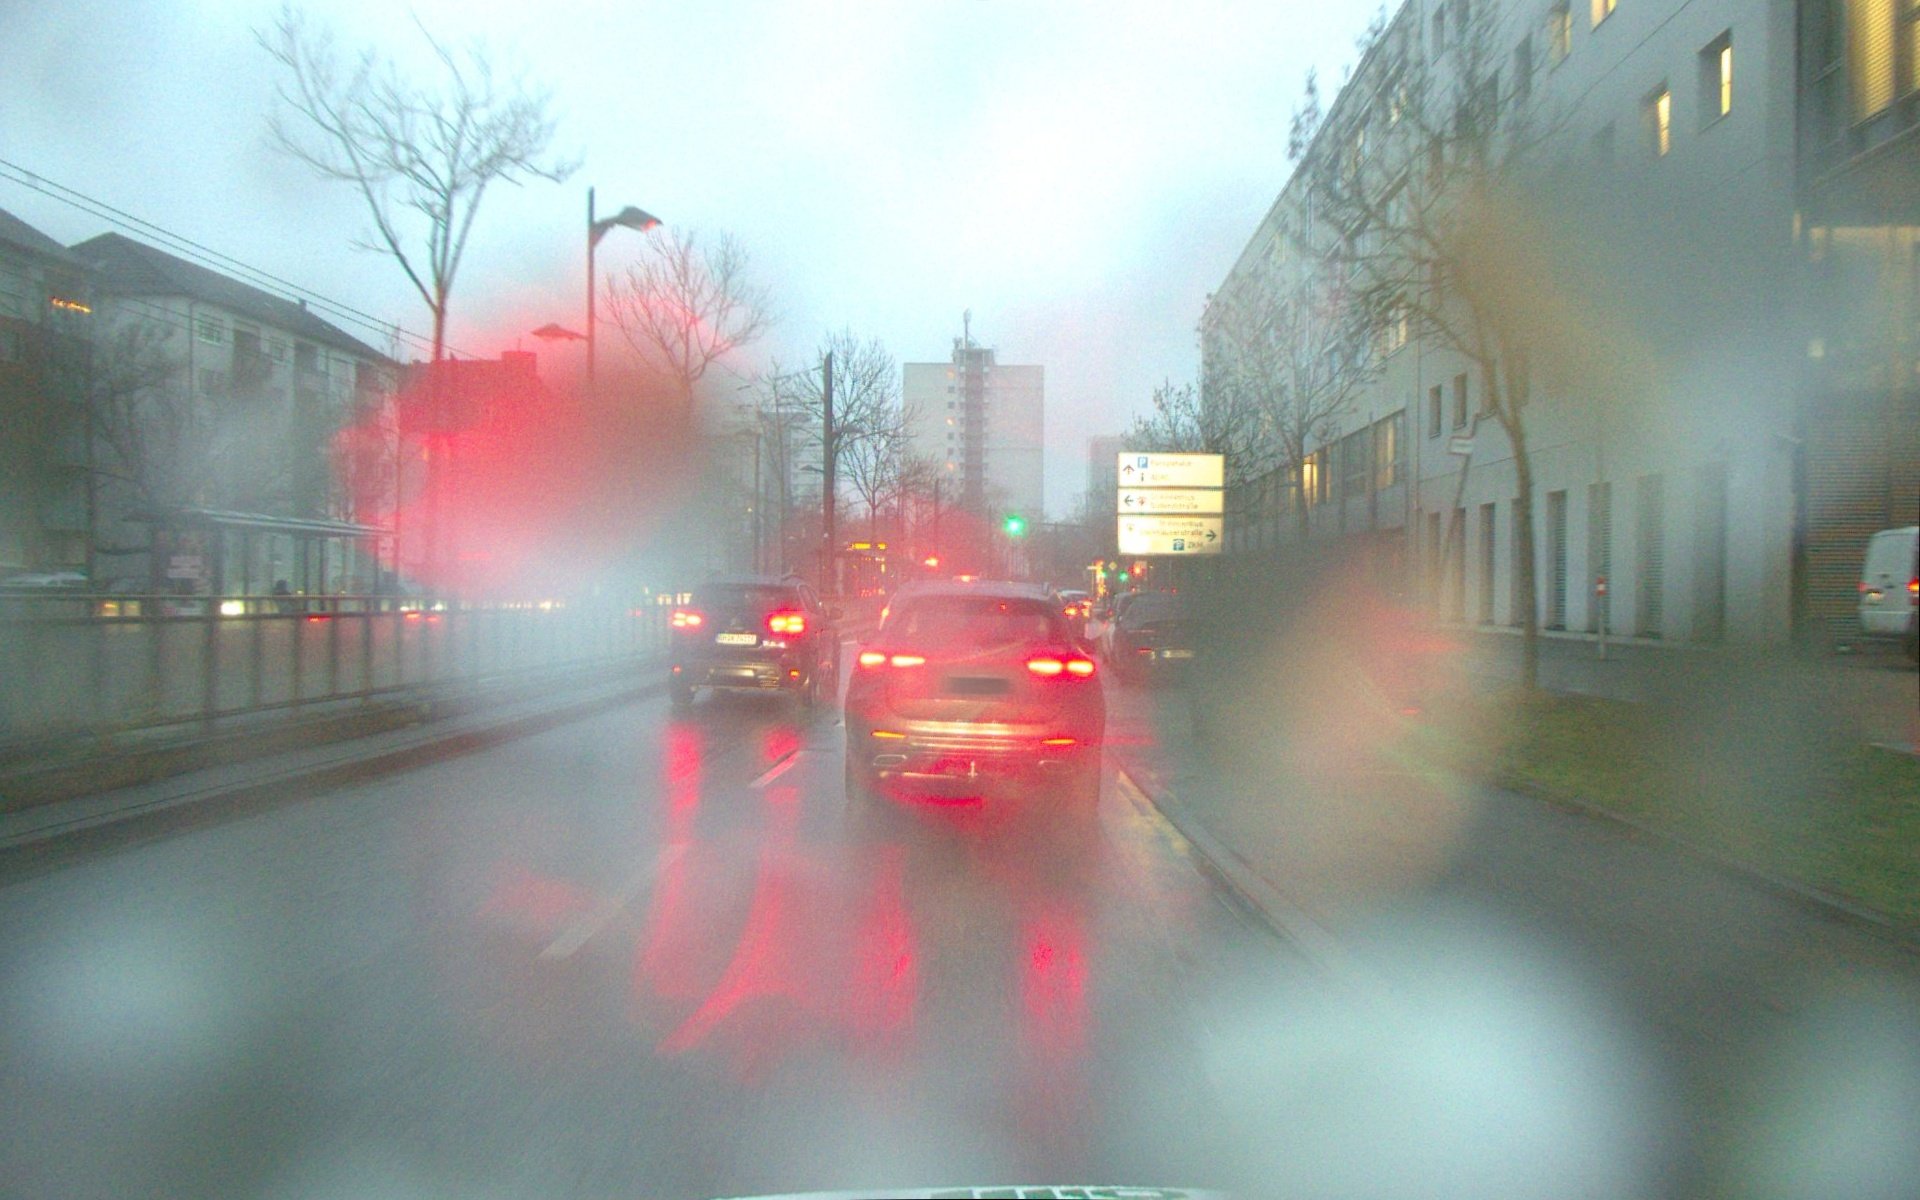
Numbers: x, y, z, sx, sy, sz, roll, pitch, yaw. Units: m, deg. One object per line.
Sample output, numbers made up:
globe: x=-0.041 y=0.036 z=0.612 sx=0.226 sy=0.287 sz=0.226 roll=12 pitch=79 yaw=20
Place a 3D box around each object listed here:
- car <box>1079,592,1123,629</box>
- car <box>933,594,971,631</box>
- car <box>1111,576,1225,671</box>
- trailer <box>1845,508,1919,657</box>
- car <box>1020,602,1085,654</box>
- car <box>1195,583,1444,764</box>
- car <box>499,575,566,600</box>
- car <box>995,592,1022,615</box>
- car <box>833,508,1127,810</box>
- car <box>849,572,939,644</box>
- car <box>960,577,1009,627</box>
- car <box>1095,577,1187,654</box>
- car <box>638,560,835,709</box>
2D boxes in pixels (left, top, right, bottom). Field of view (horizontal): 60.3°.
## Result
car: x=6.794 y=0.515 z=79.951 sx=1.952 sy=1.720 sz=3.530 roll=2 pitch=0 yaw=3
car: x=-0.445 y=0.701 z=97.447 sx=1.912 sy=2.069 sz=4.885 roll=1 pitch=0 yaw=3
car: x=3.436 y=0.338 z=27.949 sx=1.717 sy=1.427 sz=4.253 roll=2 pitch=1 yaw=5
trailer: x=15.017 y=-0.233 z=22.325 sx=4.959 sy=1.944 sz=2.132 roll=1 pitch=2 yaw=7
car: x=2.769 y=0.812 z=50.256 sx=1.847 sy=1.377 sz=4.103 roll=2 pitch=1 yaw=2
car: x=3.312 y=0.629 z=15.977 sx=1.563 sy=1.465 sz=4.229 roll=2 pitch=0 yaw=2
car: x=-26.435 y=-0.785 z=102.342 sx=3.722 sy=1.390 sz=1.697 roll=2 pitch=-1 yaw=-3
car: x=3.517 y=0.266 z=119.169 sx=1.733 sy=1.528 sz=3.370 roll=2 pitch=0 yaw=5
car: x=0.119 y=0.417 z=13.326 sx=1.953 sy=2.010 sz=4.067 roll=2 pitch=0 yaw=-1
car: x=-1.608 y=0.203 z=41.628 sx=1.952 sy=1.671 sz=4.023 roll=2 pitch=0 yaw=2
car: x=0.921 y=0.080 z=62.036 sx=1.757 sy=1.780 sz=3.625 roll=2 pitch=0 yaw=1
car: x=3.599 y=0.272 z=33.333 sx=1.558 sy=1.419 sz=3.487 roll=-1 pitch=1 yaw=2
car: x=-2.862 y=0.431 z=22.100 sx=1.952 sy=1.742 sz=4.325 roll=2 pitch=0 yaw=1
